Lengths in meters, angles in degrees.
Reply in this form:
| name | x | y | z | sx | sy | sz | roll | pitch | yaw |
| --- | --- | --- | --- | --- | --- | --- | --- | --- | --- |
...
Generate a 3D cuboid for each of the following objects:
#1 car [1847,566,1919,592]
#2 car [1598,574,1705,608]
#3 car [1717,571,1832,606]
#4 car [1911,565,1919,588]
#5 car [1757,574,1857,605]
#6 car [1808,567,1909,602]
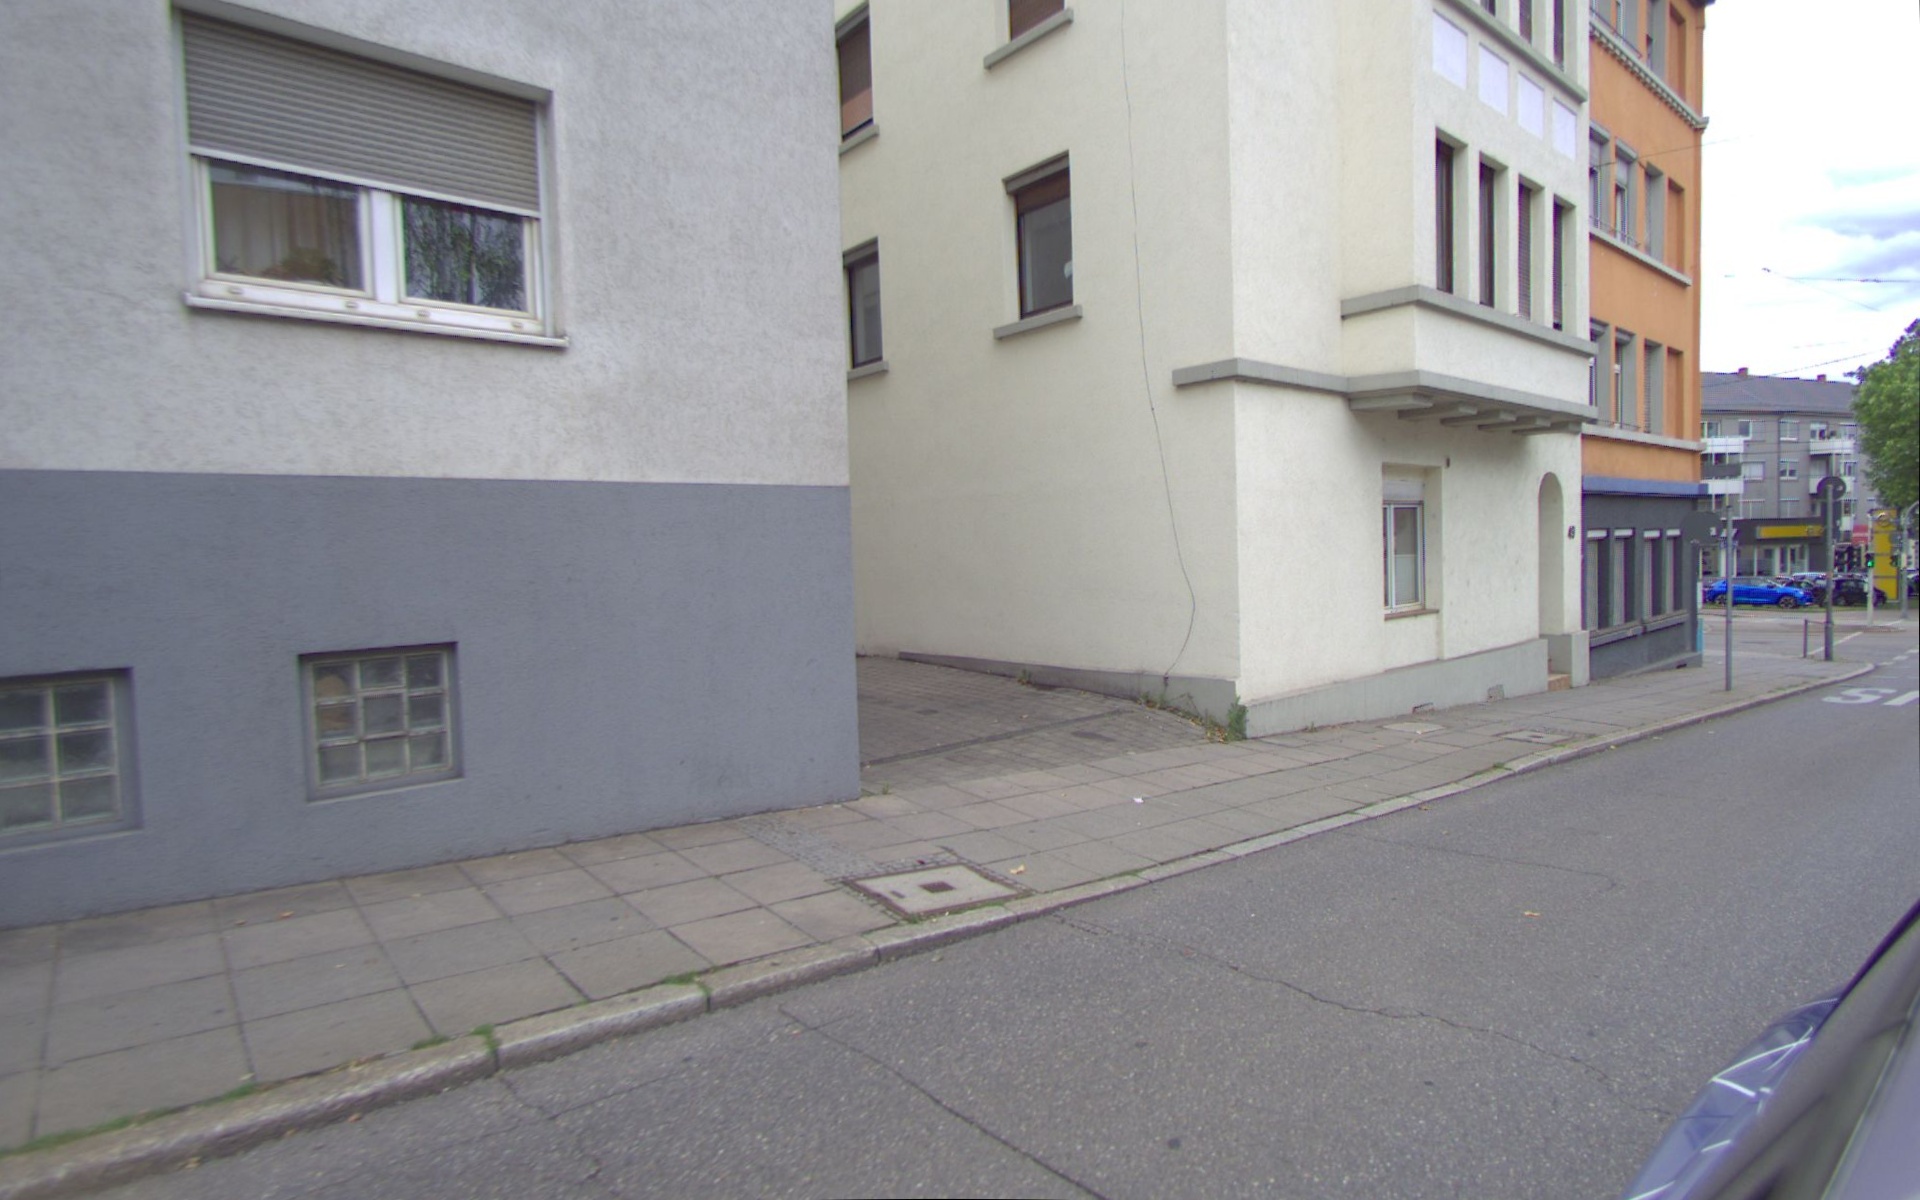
| name | x | y | z | sx | sy | sz | roll | pitch | yaw |
| --- | --- | --- | --- | --- | --- | --- | --- | --- | --- |
| car | 57.708 | -1.307 | 62.813 | 3.569 | 1.572 | 1.610 | 1 | 2 | 23 |
| car | 35.093 | -0.476 | 51.505 | 1.878 | 1.553 | 4.152 | 0 | 3 | -20 |
| car | 41.520 | -0.616 | 51.668 | 1.796 | 1.596 | 4.257 | 0 | 3 | -39 |
| car | 65.145 | -1.530 | 66.125 | 3.940 | 1.523 | 1.856 | 0 | 2 | 14 |
| car | 45.148 | -0.577 | 53.977 | 3.919 | 1.495 | 1.832 | 1 | 2 | -7 |
| car | 50.200 | -0.886 | 56.593 | 4.084 | 1.625 | 1.835 | 1 | 7 | -7 |
